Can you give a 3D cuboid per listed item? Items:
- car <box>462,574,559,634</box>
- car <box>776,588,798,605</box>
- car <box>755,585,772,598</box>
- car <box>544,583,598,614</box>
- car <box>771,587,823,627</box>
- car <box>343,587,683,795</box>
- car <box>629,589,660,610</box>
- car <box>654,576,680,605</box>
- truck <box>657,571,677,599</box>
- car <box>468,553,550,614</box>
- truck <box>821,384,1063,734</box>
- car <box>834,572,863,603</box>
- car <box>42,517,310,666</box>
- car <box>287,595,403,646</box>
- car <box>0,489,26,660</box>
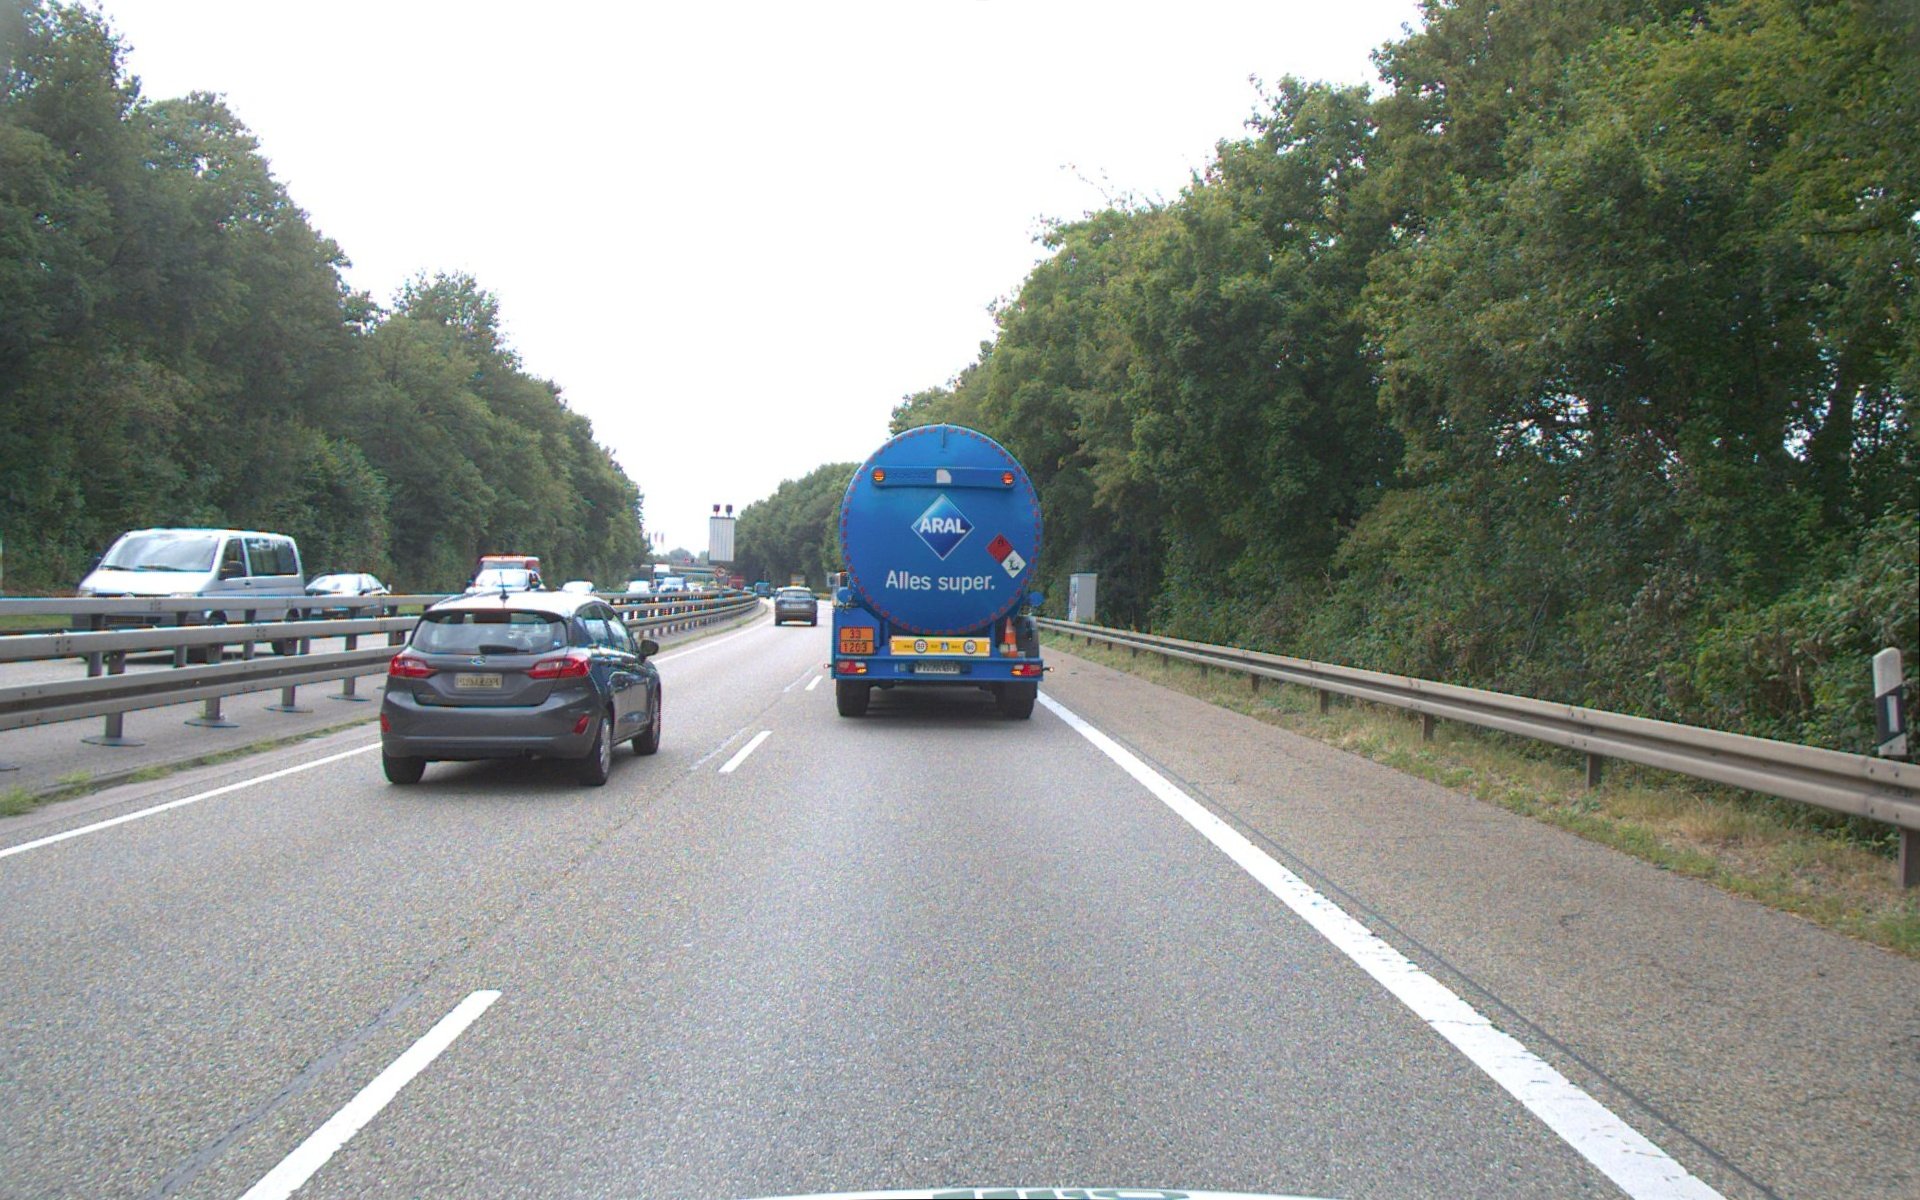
[{"bbox_3d":[-12.485,0.119,46.126,1.746,1.590,4.013,0,0,-2],"label":"car"},{"bbox_3d":[-16.514,-0.324,157.665,1.918,1.595,3.993,0,0,-8],"label":"car"},{"bbox_3d":[-24.998,-1.032,210.162,1.956,1.579,3.992,0,0,-8],"label":"car"},{"bbox_3d":[-20.152,-0.082,85.908,1.954,1.536,4.502,0,0,-3],"label":"car"},{"bbox_3d":[-6.898,0.284,70.287,1.789,1.637,4.167,0,0,0],"label":"car"},{"bbox_3d":[-3.589,0.659,14.180,1.789,1.483,4.637,0,0,-2],"label":"car"},{"bbox_3d":[-22.924,-0.011,120.231,1.660,1.492,4.086,0,0,-4],"label":"car"},{"bbox_3d":[-24.737,-0.774,139.775,1.898,2.362,5.297,0,0,-7],"label":"car"},{"bbox_3d":[-43.003,-2.193,242.750,2.641,4.134,5.313,0,0,-7],"label":"truck"},{"bbox_3d":[-17.828,-0.627,65.617,2.025,2.295,5.371,0,0,-3],"label":"car"},{"bbox_3d":[-0.228,-0.479,22.435,2.699,3.914,7.687,0,0,0],"label":"truck"},{"bbox_3d":[-8.305,-0.912,123.396,1.953,2.284,3.999,0,0,0],"label":"car"},{"bbox_3d":[-11.645,-0.114,25.011,1.785,2.018,5.056,0,0,-2],"label":"car"},{"bbox_3d":[-16.513,0.530,44.577,1.739,1.319,4.105,0,0,-3],"label":"car"},{"bbox_3d":[-15.970,-0.407,23.608,2.265,2.656,5.551,0,0,-2],"label":"car"}]
